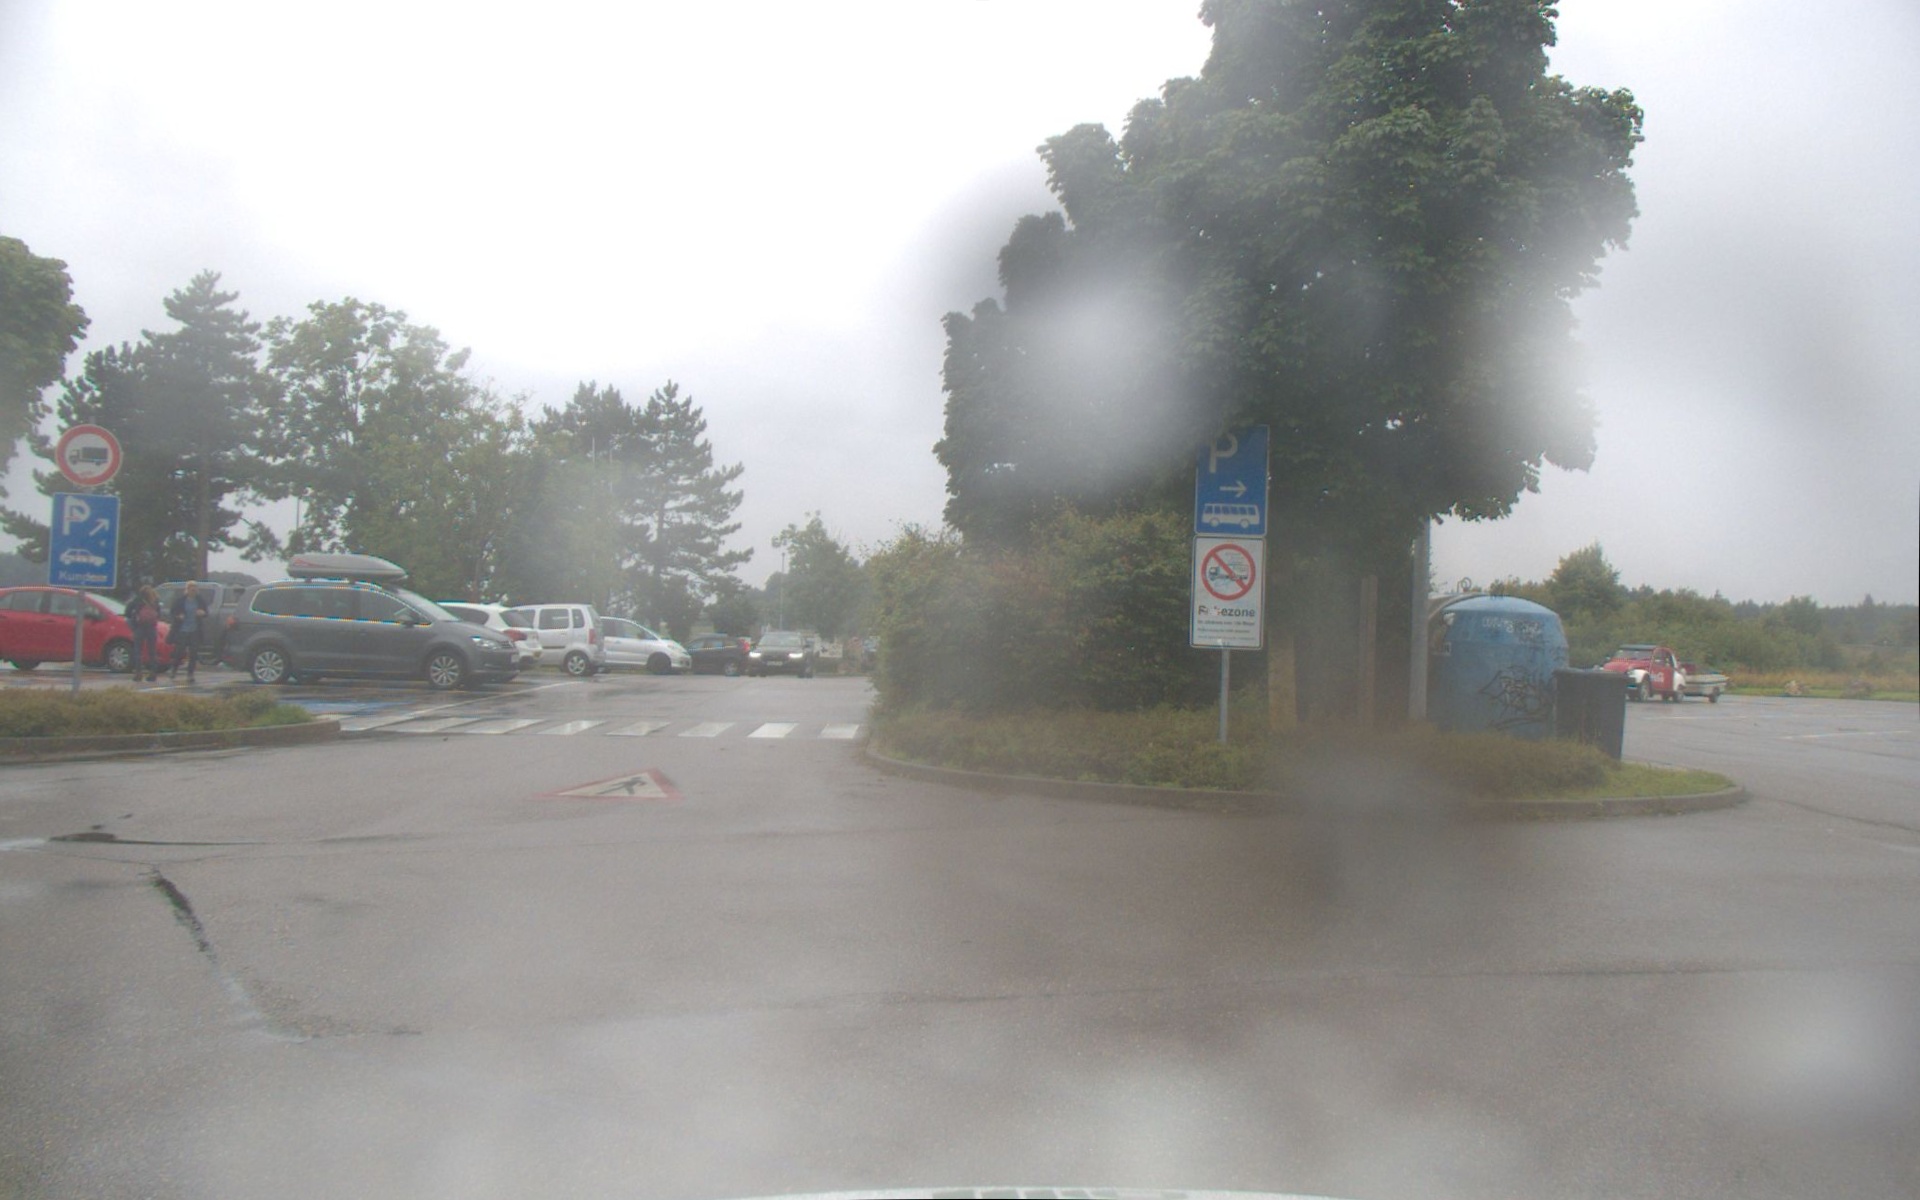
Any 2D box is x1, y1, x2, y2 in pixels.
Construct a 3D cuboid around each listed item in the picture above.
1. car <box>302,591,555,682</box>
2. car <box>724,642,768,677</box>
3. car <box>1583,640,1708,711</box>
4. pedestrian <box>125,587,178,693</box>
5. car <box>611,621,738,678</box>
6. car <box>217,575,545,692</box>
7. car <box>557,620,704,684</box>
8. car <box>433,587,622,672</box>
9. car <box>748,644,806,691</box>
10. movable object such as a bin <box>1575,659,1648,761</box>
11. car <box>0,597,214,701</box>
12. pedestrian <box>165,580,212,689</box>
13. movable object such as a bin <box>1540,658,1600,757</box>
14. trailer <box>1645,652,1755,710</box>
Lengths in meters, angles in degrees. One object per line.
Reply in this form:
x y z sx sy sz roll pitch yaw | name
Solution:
-9.791 0.660 30.706 4.099 1.543 1.743 1 0 -1 | car
-9.204 2.595 71.288 1.612 1.394 3.810 2 -3 -4 | car
18.645 2.058 44.908 1.797 1.808 3.971 0 -3 44 | car
-13.011 0.651 26.612 0.705 1.667 0.641 2 -3 -27 | pedestrian
-10.316 1.789 59.947 4.267 1.895 1.849 2 -2 -3 | car
-9.700 0.553 28.037 4.836 1.824 1.999 1 0 -3 | car
-10.298 1.643 51.926 4.267 1.895 1.849 1 -3 -3 | car
-10.094 0.722 38.820 3.930 1.895 1.849 1 -3 -3 | car
-5.818 2.162 52.838 1.612 1.394 3.996 2 -3 -4 | car
6.456 1.085 16.394 0.465 0.965 0.432 3 0 -25 | movable object such as a bin
-16.201 0.881 30.600 3.930 1.824 1.850 1 0 -3 | car
-12.670 0.578 27.175 0.602 1.755 0.678 3 -3 -25 | pedestrian
6.220 1.084 16.860 0.398 0.965 0.448 3 0 42 | movable object such as a bin
21.402 2.343 47.784 1.672 1.559 3.972 0 -2 44 | trailer
